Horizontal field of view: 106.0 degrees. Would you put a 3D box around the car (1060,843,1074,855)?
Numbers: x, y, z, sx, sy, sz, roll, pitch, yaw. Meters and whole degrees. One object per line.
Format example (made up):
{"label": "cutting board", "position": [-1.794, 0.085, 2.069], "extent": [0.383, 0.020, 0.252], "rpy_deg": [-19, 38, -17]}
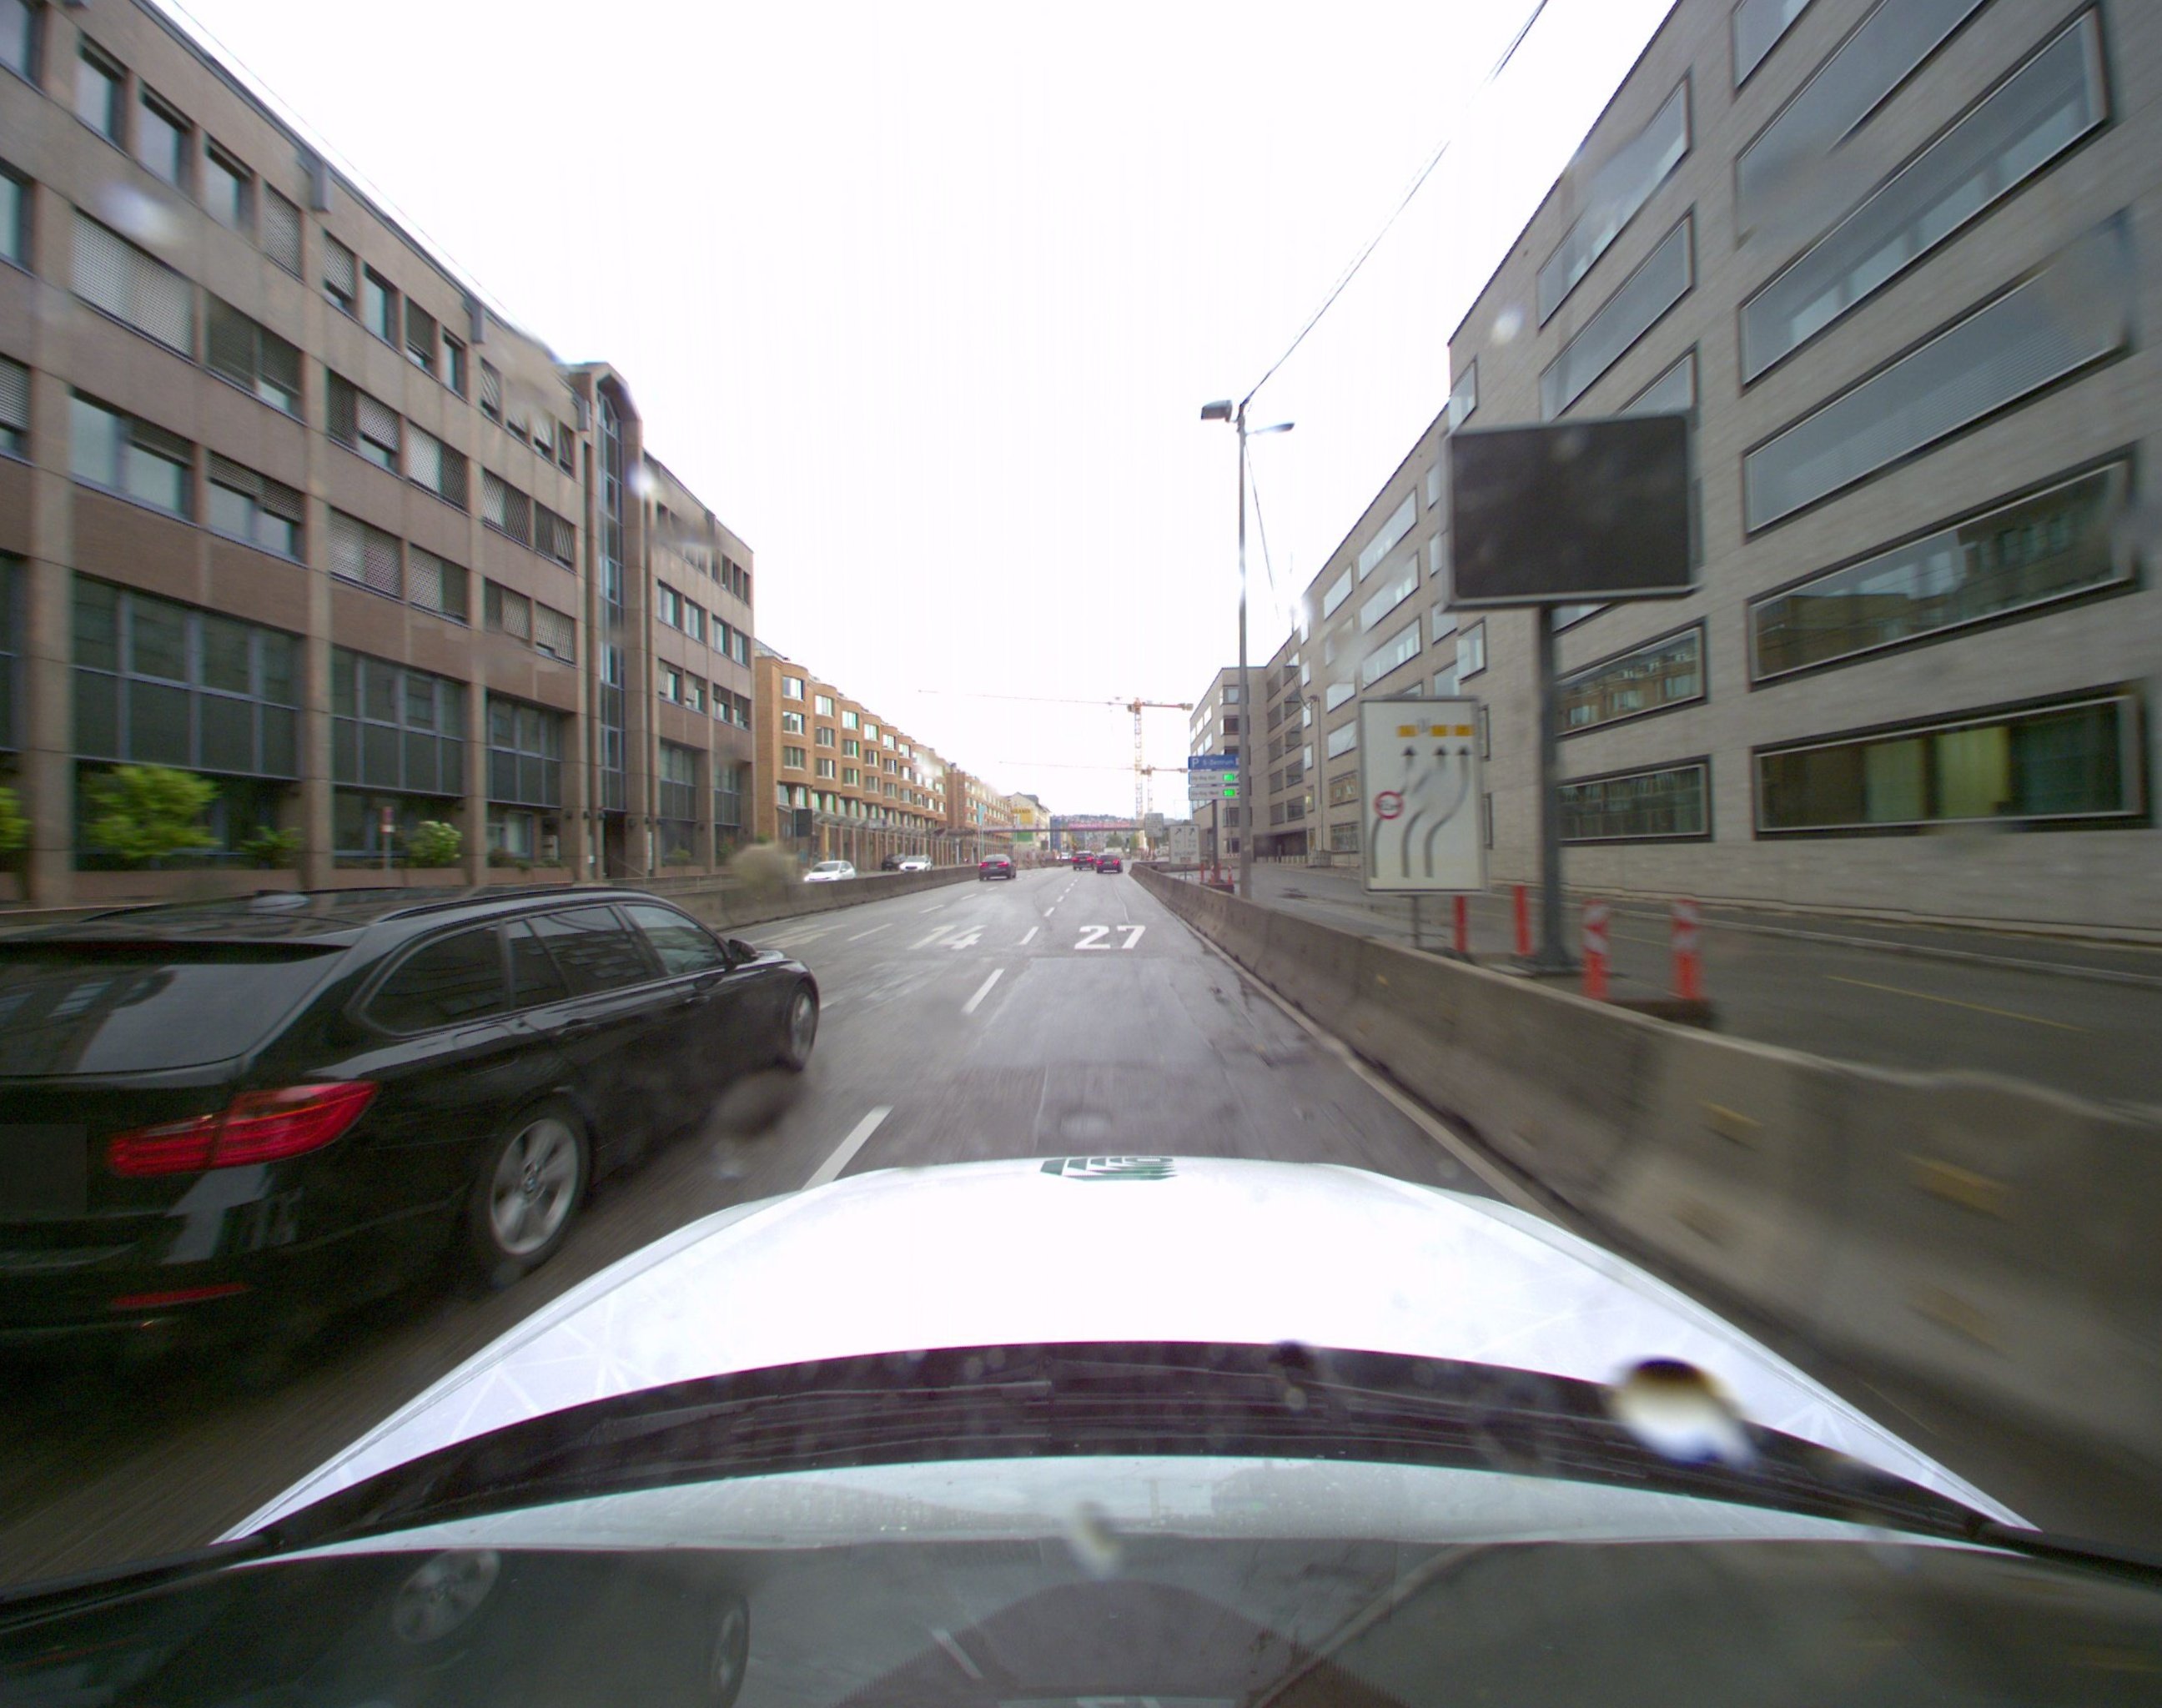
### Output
{"label": "car", "position": [-2.314, -0.854, 134.356], "extent": [1.986, 1.826, 4.765], "rpy_deg": [-2, 0, 2]}

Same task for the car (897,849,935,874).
{"label": "car", "position": [-12.392, 0.514, 61.469], "extent": [1.813, 1.618, 4.194], "rpy_deg": [-2, 2, 2]}

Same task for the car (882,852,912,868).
{"label": "car", "position": [-19.994, 0.637, 88.683], "extent": [1.986, 1.620, 4.765], "rpy_deg": [-2, 0, 2]}

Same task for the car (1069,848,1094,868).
{"label": "car", "position": [0.083, 0.324, 72.955], "extent": [1.891, 1.693, 4.005], "rpy_deg": [-2, 0, 4]}

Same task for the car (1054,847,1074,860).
{"label": "car", "position": [-2.216, -0.120, 107.762], "extent": [1.984, 1.620, 4.770], "rpy_deg": [-2, 0, 5]}

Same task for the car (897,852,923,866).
{"label": "car", "position": [-20.114, 0.562, 95.987], "extent": [1.986, 1.620, 4.320], "rpy_deg": [-2, 0, 2]}

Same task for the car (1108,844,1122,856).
{"label": "car", "position": [5.061, -0.646, 120.803], "extent": [1.891, 1.693, 4.006], "rpy_deg": [-2, 0, 5]}

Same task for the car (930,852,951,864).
{"label": "car", "position": [-19.467, 0.509, 112.812], "extent": [1.986, 1.620, 4.320], "rpy_deg": [-2, 0, 2]}

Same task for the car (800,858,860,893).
{"label": "car", "position": [-12.057, 0.989, 39.363], "extent": [1.596, 1.442, 3.659], "rpy_deg": [-2, 2, 2]}

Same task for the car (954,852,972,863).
{"label": "car", "position": [-18.886, 0.615, 130.126], "extent": [1.986, 1.620, 4.692], "rpy_deg": [-2, 0, 2]}

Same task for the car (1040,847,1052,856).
{"label": "car", "position": [-6.913, -0.566, 160.759], "extent": [1.986, 1.620, 4.765], "rpy_deg": [-2, 0, 2]}

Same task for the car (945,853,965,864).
{"label": "car", "position": [-19.143, 0.665, 124.011], "extent": [1.986, 1.620, 4.692], "rpy_deg": [-2, 0, 2]}

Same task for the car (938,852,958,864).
{"label": "car", "position": [-19.232, 0.518, 118.081], "extent": [1.986, 1.620, 4.692], "rpy_deg": [-2, 0, 2]}

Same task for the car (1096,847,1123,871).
{"label": "car", "position": [2.166, 0.343, 61.718], "extent": [1.892, 1.693, 4.004], "rpy_deg": [-2, 0, 3]}

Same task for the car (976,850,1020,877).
{"label": "car", "position": [-4.765, 0.509, 47.239], "extent": [1.783, 1.426, 4.388], "rpy_deg": [-2, 0, 3]}

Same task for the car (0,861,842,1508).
{"label": "car", "position": [-2.851, 0.790, 4.175], "extent": [1.785, 1.426, 4.614], "rpy_deg": [-1, 0, 1]}

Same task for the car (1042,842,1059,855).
{"label": "car", "position": [-4.182, -0.735, 112.819], "extent": [1.986, 1.620, 4.765], "rpy_deg": [-2, 0, 2]}

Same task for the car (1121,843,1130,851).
{"label": "car", "position": [10.524, -1.694, 193.664], "extent": [1.891, 1.693, 4.005], "rpy_deg": [-2, 0, 4]}

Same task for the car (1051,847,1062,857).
{"label": "car", "position": [-5.300, -0.439, 177.543], "extent": [1.985, 2.013, 4.003], "rpy_deg": [-2, 0, 3]}
